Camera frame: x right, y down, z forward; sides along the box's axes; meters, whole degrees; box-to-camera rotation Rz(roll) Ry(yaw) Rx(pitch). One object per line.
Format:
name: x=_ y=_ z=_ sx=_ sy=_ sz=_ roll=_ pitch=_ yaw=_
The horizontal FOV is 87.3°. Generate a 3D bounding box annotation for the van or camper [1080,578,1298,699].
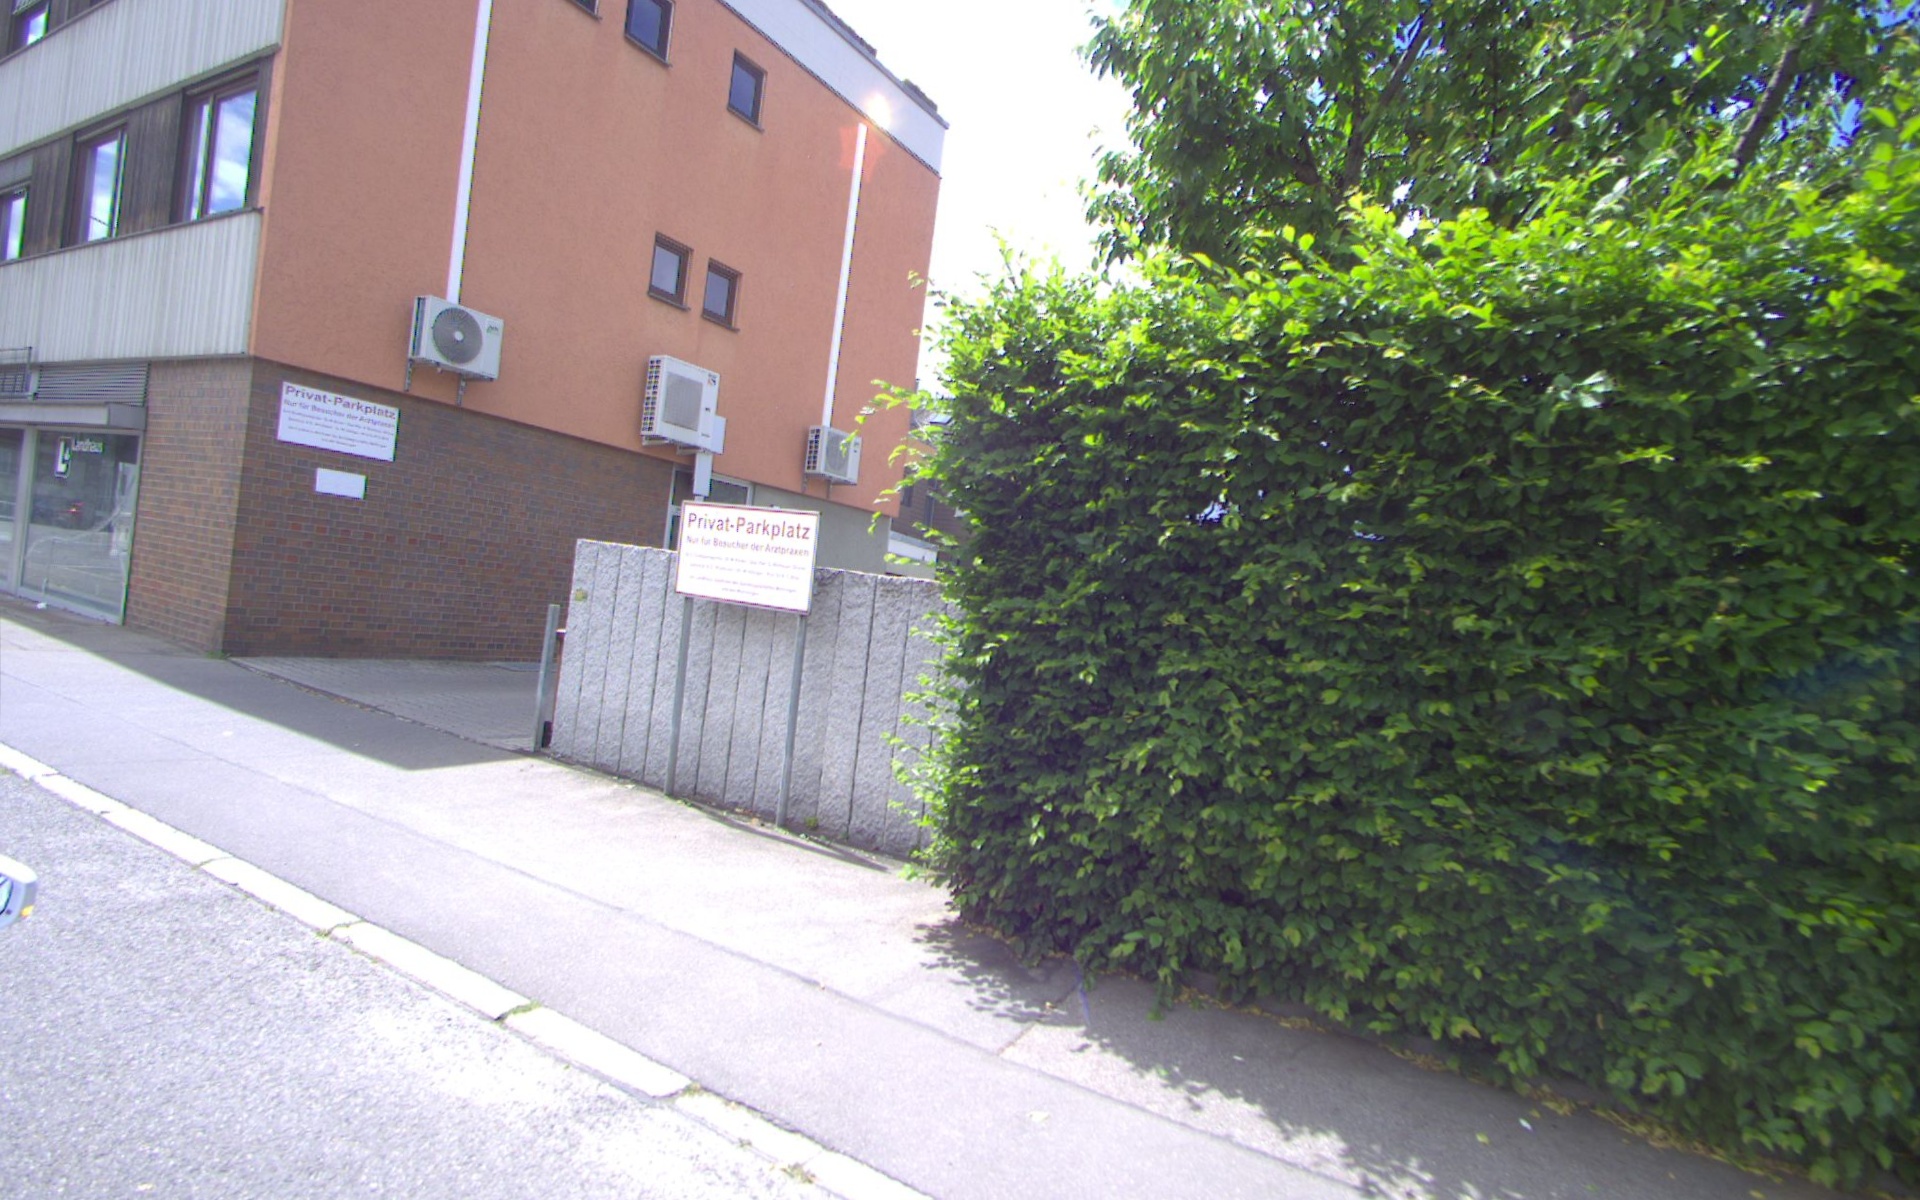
van or camper: x=6.262 y=1.052 z=28.079 sx=5.409 sy=2.574 sz=2.059 roll=7 pitch=0 yaw=4

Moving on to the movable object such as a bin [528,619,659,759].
movable object such as a bin: x=-2.844 y=0.677 z=7.830 sx=0.674 sy=0.962 sz=0.534 roll=7 pitch=0 yaw=18
